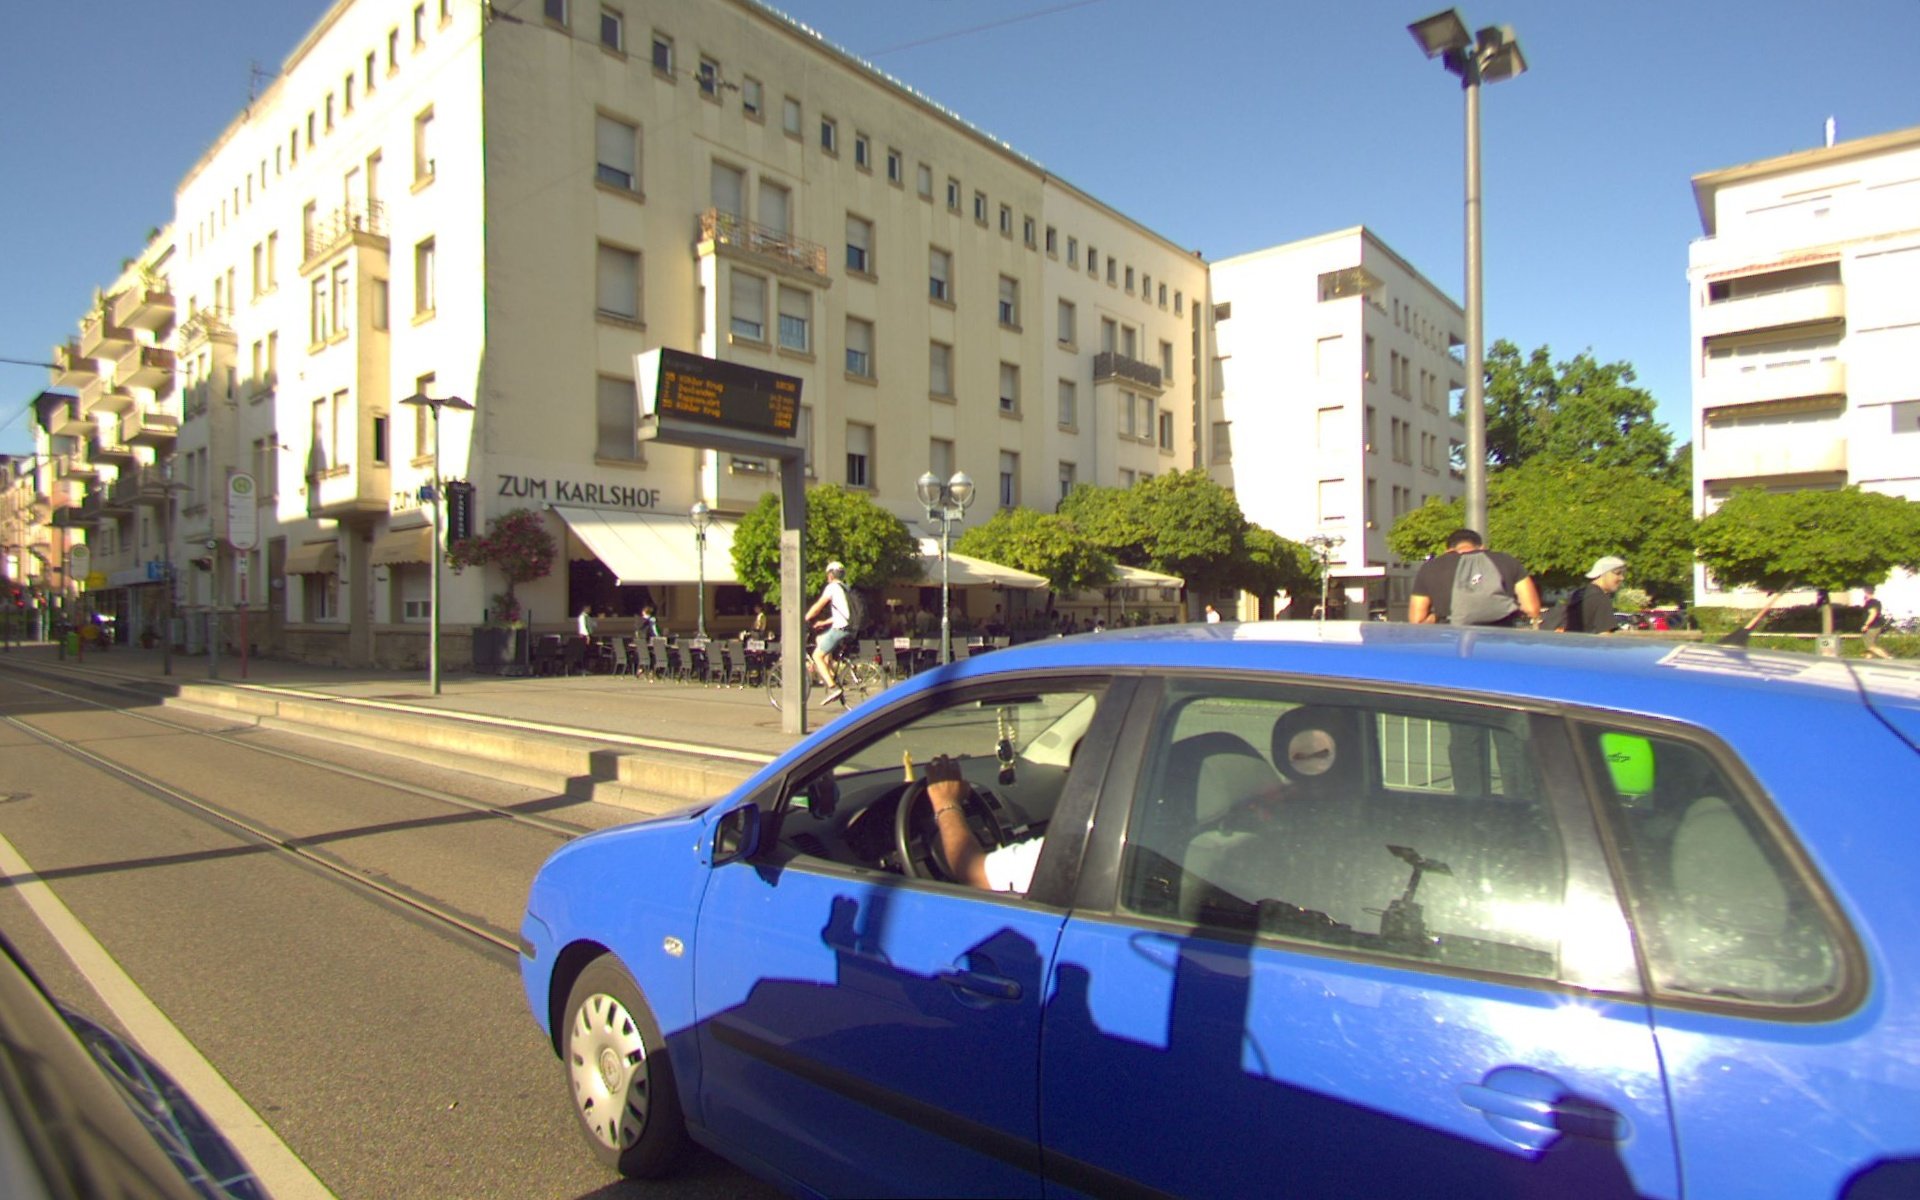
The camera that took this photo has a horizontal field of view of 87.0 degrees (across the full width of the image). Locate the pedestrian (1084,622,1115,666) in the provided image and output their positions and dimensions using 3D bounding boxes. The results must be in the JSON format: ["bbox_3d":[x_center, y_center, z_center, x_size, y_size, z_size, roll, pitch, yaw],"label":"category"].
[{"bbox_3d":[4.219,1.327,30.627,0.672,1.280,0.636,-5,-5,36],"label":"pedestrian"}]

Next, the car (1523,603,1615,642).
[{"bbox_3d":[24.220,0.879,40.299,2.932,1.497,1.399,-1,-1,41],"label":"car"}]

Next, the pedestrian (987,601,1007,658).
[{"bbox_3d":[1.218,0.961,33.290,0.641,1.837,0.576,-1,-1,5],"label":"pedestrian"}]

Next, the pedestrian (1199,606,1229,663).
[{"bbox_3d":[8.050,1.100,32.087,0.710,1.750,0.673,-2,-4,1],"label":"pedestrian"}]

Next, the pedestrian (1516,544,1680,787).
[{"bbox_3d":[4.851,0.475,7.750,0.971,1.693,0.985,-1,-3,31],"label":"pedestrian"}]

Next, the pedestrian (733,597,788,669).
[{"bbox_3d":[-4.759,0.775,24.150,0.755,1.657,1.054,-1,-1,36],"label":"pedestrian"}]

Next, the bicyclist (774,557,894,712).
[{"bbox_3d":[-1.547,0.415,12.490,1.092,1.807,0.996,-1,-1,33],"label":"bicyclist"}]

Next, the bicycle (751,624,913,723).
[{"bbox_3d":[-1.614,0.877,12.565,2.030,1.134,0.706,-1,-1,33],"label":"bicycle"}]

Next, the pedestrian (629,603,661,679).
[{"bbox_3d":[-7.100,0.931,22.770,0.662,1.657,0.679,-1,-4,-18],"label":"pedestrian"}]

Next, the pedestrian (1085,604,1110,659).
[{"bbox_3d":[4.484,1.024,33.080,0.677,1.750,0.671,-3,-4,14],"label":"pedestrian"}]

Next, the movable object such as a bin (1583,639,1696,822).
[{"bbox_3d":[3.452,0.638,5.142,0.416,0.866,0.332,-2,-1,44],"label":"movable object such as a bin"}]

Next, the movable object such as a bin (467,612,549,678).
[{"bbox_3d":[-9.980,0.970,22.368,1.127,1.410,1.302,-1,-1,40],"label":"movable object such as a bin"}]

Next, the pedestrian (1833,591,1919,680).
[{"bbox_3d":[19.452,0.733,21.381,1.063,1.801,1.180,0,-1,-28],"label":"pedestrian"}]

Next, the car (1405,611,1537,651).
[{"bbox_3d":[17.564,1.046,34.844,3.713,1.310,1.973,-1,-1,41],"label":"car"}]

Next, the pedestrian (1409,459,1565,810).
[{"bbox_3d":[2.808,0.180,5.404,0.607,1.731,0.542,-1,-3,43],"label":"pedestrian"}]

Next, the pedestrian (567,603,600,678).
[{"bbox_3d":[-8.565,0.934,23.020,0.662,1.657,0.753,0,-4,-22],"label":"pedestrian"}]

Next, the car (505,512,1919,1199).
[{"bbox_3d":[0.793,0.684,2.187,3.996,1.499,1.650,-1,-1,39],"label":"car"}]
